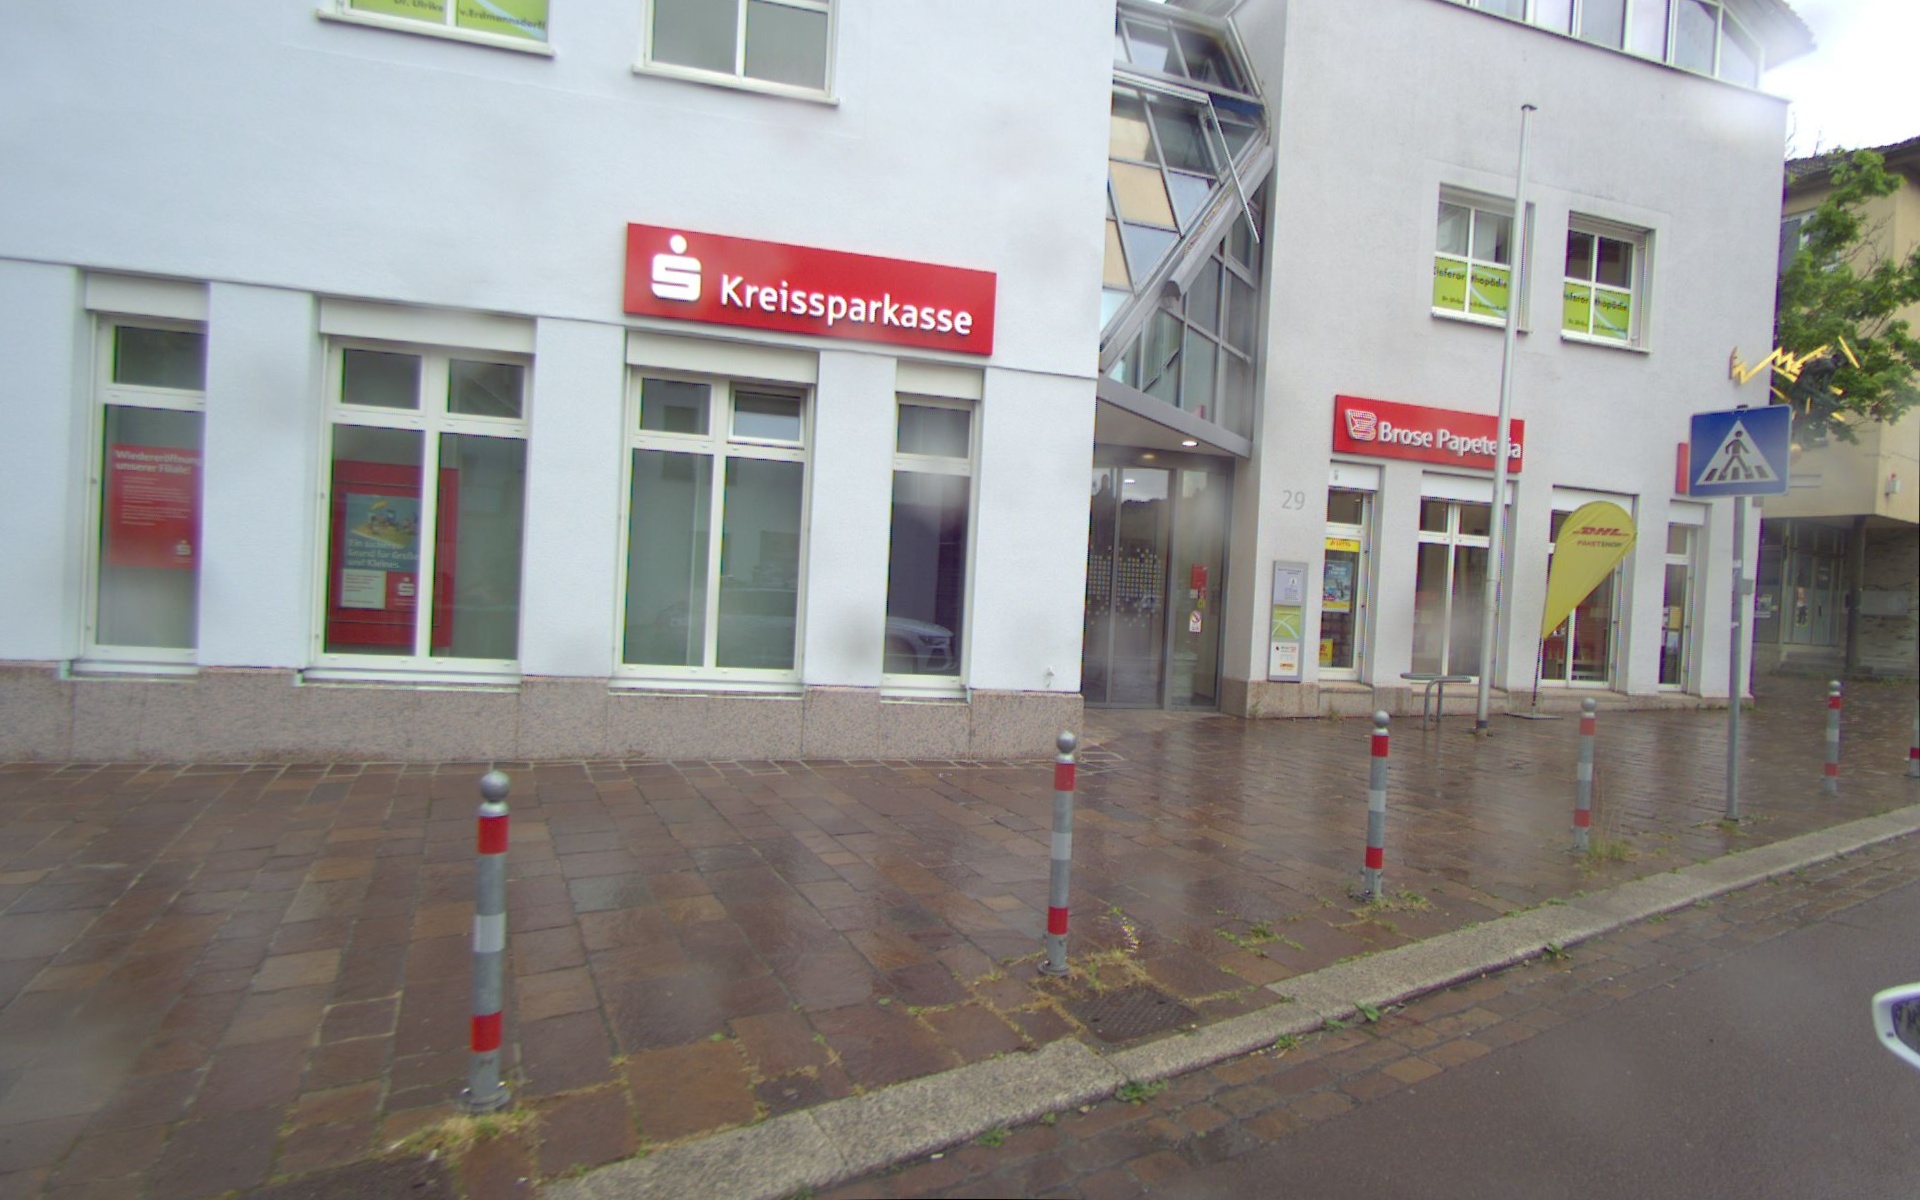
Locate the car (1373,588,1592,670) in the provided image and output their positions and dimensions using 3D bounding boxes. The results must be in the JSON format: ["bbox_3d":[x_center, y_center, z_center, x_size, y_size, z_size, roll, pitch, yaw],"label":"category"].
[{"bbox_3d":[11.107,0.563,21.682,1.935,1.585,3.983,1,0,-18],"label":"car"}]
